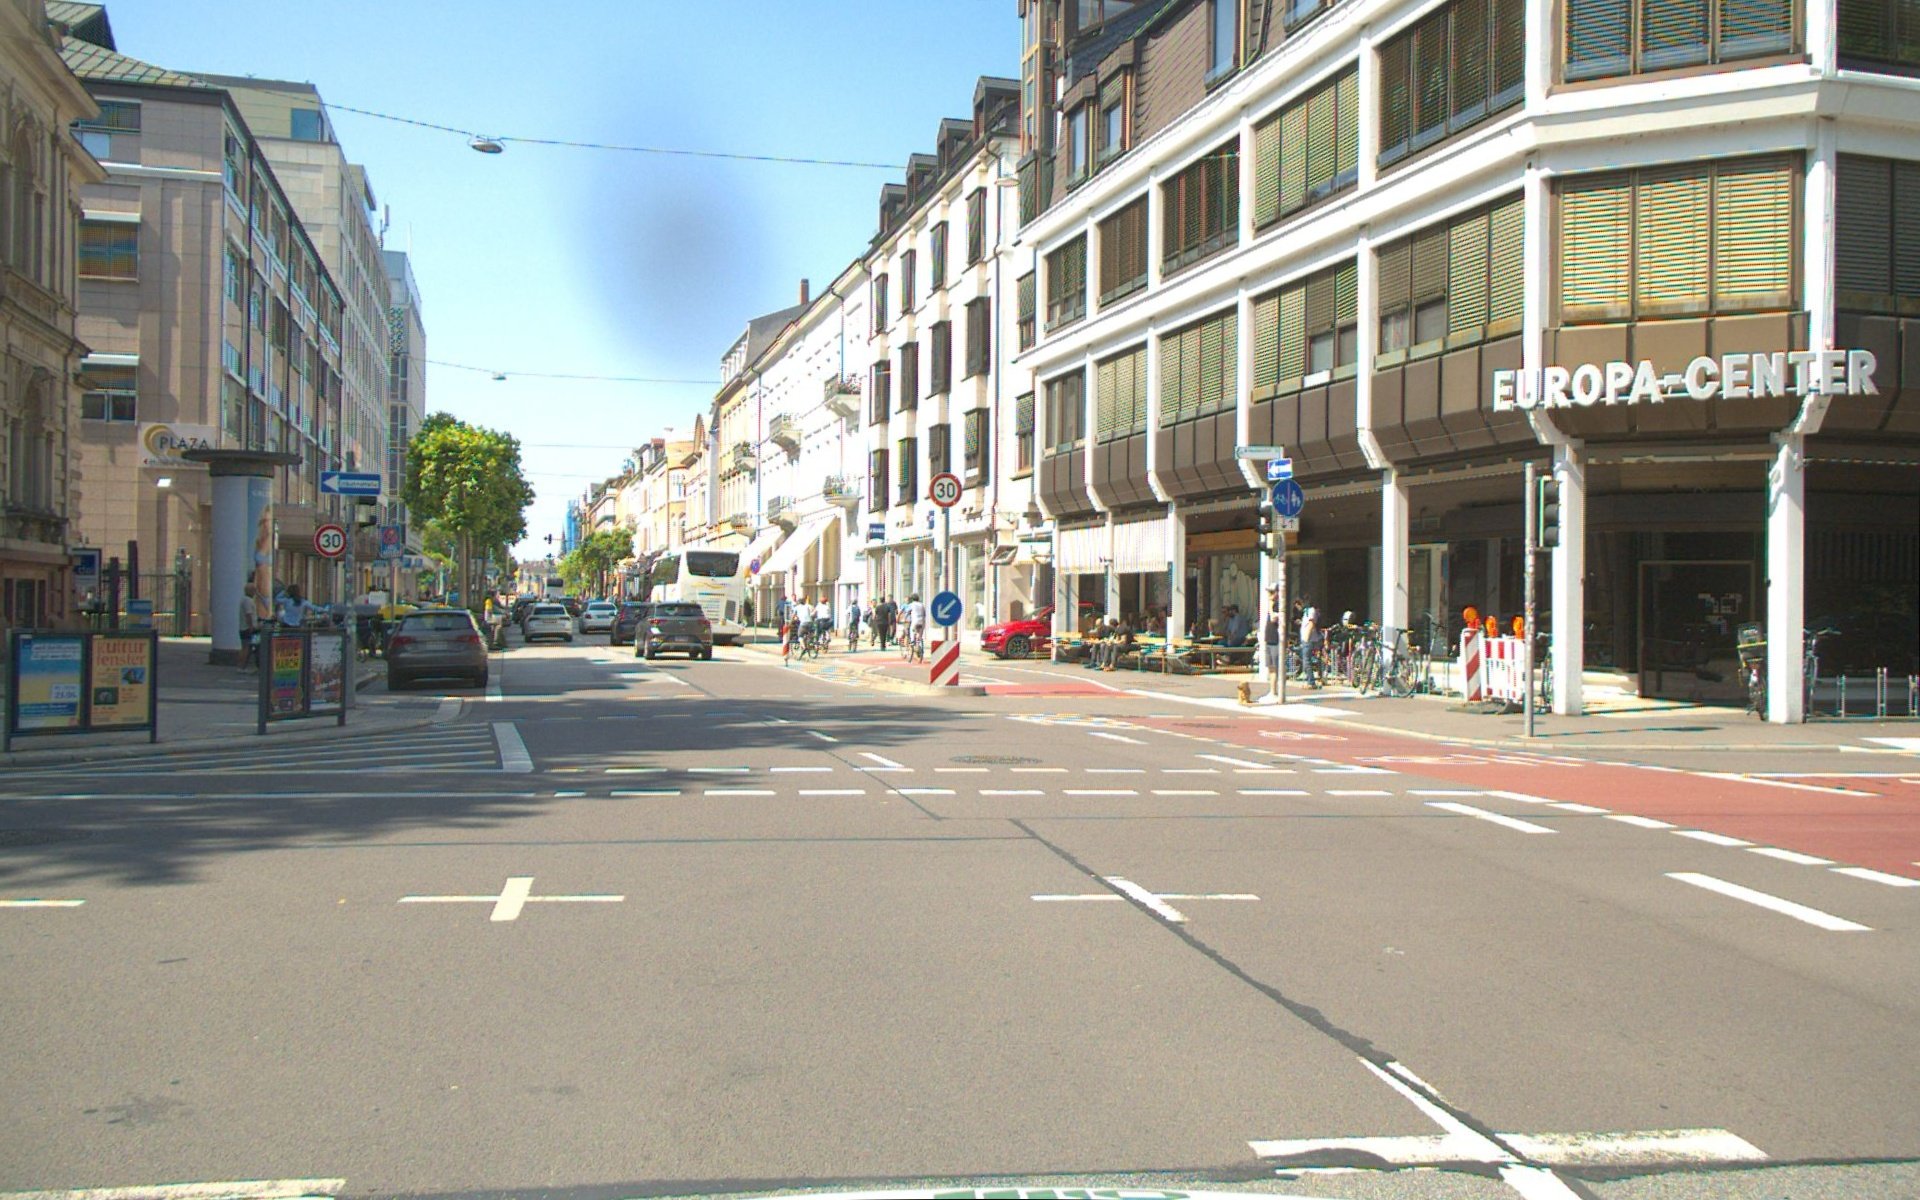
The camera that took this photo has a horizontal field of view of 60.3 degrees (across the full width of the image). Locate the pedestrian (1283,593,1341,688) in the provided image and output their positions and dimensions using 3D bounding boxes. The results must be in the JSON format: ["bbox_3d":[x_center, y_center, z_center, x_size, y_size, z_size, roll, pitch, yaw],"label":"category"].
[{"bbox_3d":[6.378,0.738,29.991,0.817,1.692,0.695,0,-2,-7],"label":"pedestrian"}]

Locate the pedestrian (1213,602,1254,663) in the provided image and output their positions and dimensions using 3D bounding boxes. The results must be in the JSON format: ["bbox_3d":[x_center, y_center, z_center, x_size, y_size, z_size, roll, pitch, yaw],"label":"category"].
[{"bbox_3d":[6.395,0.762,38.662,0.700,1.421,0.693,0,-2,-17],"label":"pedestrian"}]

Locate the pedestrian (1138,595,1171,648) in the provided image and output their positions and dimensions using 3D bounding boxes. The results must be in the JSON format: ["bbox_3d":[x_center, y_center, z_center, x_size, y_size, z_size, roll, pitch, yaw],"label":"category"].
[{"bbox_3d":[5.202,0.573,44.255,0.732,1.391,0.582,0,-1,-17],"label":"pedestrian"}]

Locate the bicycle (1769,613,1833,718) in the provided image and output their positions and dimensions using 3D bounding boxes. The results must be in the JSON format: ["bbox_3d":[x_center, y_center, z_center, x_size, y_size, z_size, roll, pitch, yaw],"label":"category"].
[{"bbox_3d":[11.536,0.871,22.668,0.520,1.340,1.852,0,1,35],"label":"bicycle"}]

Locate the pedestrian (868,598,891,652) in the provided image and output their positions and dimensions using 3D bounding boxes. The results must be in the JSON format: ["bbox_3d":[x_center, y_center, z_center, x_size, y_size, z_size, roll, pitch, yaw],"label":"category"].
[{"bbox_3d":[-2.625,0.808,53.874,0.609,1.750,0.832,0,-1,-13],"label":"pedestrian"}]

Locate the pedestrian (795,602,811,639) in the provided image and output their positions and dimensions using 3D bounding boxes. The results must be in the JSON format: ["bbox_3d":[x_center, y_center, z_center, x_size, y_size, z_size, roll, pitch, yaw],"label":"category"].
[{"bbox_3d":[-6.983,0.901,73.508,0.634,1.646,0.819,0,-2,-13],"label":"pedestrian"}]

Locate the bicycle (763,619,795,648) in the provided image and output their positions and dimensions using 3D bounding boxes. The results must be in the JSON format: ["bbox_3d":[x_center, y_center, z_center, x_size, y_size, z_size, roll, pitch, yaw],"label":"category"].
[{"bbox_3d":[-7.157,1.309,65.362,0.824,1.118,2.341,1,-1,-17],"label":"bicycle"}]

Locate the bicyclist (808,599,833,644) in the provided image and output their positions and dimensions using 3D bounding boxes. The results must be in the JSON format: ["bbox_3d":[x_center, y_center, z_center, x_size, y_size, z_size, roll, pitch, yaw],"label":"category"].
[{"bbox_3d":[-4.430,0.676,52.555,0.610,1.394,0.777,1,-1,-17],"label":"bicyclist"}]

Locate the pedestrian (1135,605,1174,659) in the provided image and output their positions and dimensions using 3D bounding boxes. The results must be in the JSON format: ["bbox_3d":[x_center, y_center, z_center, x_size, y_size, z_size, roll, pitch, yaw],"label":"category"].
[{"bbox_3d":[5.078,0.842,43.168,0.863,1.391,0.534,0,-1,-17],"label":"pedestrian"}]

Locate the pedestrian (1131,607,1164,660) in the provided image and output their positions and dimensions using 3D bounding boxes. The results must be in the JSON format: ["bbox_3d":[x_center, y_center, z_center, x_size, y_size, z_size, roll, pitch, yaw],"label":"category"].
[{"bbox_3d":[4.938,0.879,43.608,0.749,1.391,0.476,0,-1,-17],"label":"pedestrian"}]

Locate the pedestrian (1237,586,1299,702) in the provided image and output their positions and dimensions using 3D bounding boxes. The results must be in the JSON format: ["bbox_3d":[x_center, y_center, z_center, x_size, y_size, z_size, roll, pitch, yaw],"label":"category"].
[{"bbox_3d":[5.025,0.715,27.005,0.817,1.868,0.695,0,-2,-7],"label":"pedestrian"}]

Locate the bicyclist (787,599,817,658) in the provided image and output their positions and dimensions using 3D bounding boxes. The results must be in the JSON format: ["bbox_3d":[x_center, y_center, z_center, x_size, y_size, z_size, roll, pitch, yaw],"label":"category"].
[{"bbox_3d":[-4.671,0.831,48.776,0.683,1.702,0.912,3,0,-14],"label":"bicyclist"}]

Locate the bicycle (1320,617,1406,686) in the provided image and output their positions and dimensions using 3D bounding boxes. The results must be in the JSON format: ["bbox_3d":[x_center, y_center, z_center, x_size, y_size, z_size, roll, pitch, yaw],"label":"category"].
[{"bbox_3d":[7.234,0.930,29.698,1.517,1.228,0.277,1,0,-9],"label":"bicycle"}]

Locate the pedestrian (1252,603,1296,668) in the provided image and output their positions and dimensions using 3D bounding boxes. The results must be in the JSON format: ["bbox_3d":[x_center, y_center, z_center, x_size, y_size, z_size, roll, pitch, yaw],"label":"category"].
[{"bbox_3d":[6.957,0.780,36.640,0.700,1.421,0.693,0,-2,-17],"label":"pedestrian"}]

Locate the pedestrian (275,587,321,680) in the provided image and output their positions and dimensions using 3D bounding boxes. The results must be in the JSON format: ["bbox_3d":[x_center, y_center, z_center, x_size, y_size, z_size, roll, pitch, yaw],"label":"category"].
[{"bbox_3d":[-12.442,0.637,31.092,0.682,1.725,0.688,0,-2,-13],"label":"pedestrian"}]

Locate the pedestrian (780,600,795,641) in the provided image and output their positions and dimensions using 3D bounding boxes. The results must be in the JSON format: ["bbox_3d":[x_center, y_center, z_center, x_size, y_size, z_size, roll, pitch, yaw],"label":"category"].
[{"bbox_3d":[-7.576,0.912,72.585,0.563,1.810,1.016,0,-2,-13],"label":"pedestrian"}]

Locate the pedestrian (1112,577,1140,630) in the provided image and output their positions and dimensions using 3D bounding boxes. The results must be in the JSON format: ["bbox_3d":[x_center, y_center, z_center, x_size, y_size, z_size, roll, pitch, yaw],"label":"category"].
[{"bbox_3d":[4.412,0.088,44.024,0.526,1.391,0.686,0,-1,-15],"label":"pedestrian"}]

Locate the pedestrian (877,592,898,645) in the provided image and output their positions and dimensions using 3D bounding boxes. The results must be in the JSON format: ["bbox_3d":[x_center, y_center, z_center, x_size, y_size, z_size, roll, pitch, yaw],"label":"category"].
[{"bbox_3d":[-2.605,0.671,59.268,0.681,1.883,0.834,0,-2,-7],"label":"pedestrian"}]

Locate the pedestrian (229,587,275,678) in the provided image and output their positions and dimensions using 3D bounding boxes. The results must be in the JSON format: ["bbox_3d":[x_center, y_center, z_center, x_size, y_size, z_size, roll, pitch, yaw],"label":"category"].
[{"bbox_3d":[-13.433,0.623,31.396,0.538,1.694,0.935,0,-2,-7],"label":"pedestrian"}]

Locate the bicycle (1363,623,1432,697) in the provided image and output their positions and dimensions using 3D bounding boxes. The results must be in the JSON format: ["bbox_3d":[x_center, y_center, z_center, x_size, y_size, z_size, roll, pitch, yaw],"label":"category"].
[{"bbox_3d":[7.280,0.974,27.616,0.271,1.140,2.239,0,0,-8],"label":"bicycle"}]

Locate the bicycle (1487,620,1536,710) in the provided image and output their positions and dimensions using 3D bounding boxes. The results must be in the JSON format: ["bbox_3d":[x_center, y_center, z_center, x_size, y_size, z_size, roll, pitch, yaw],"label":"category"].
[{"bbox_3d":[8.451,0.977,25.326,0.369,1.082,1.471,-1,9,30],"label":"bicycle"}]

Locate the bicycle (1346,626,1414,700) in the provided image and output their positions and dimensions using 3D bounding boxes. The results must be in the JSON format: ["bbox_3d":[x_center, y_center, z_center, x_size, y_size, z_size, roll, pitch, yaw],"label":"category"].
[{"bbox_3d":[6.954,1.015,27.477,0.271,1.140,2.239,0,0,-8],"label":"bicycle"}]

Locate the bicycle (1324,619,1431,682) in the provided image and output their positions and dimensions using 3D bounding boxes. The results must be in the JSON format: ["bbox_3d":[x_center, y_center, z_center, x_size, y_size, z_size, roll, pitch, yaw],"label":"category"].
[{"bbox_3d":[7.724,0.922,30.530,2.206,1.140,0.275,1,0,-24],"label":"bicycle"}]

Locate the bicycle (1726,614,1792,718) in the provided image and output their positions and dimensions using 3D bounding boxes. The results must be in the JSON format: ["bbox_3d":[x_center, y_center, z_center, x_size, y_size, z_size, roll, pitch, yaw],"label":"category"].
[{"bbox_3d":[11.086,0.882,22.924,0.520,1.340,1.960,0,1,35],"label":"bicycle"}]

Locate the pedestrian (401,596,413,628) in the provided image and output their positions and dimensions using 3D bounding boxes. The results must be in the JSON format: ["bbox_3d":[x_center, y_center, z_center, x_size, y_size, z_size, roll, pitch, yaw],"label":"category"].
[{"bbox_3d":[-29.511,0.623,88.283,0.558,1.686,0.632,1,-1,-23],"label":"pedestrian"}]

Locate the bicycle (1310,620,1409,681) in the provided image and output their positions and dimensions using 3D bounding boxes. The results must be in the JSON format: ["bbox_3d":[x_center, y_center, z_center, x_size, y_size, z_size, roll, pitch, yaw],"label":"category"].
[{"bbox_3d":[7.529,0.946,31.115,2.211,1.116,0.275,1,0,-30],"label":"bicycle"}]

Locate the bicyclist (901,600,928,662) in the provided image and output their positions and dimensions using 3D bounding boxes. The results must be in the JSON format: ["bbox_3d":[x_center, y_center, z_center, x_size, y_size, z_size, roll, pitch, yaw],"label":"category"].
[{"bbox_3d":[-1.214,0.822,44.430,0.681,1.654,0.834,0,-1,-5],"label":"bicyclist"}]

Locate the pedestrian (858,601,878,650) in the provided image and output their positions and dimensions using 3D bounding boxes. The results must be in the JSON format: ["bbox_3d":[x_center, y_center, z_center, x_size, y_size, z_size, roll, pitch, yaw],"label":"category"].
[{"bbox_3d":[-3.296,0.904,59.192,0.681,1.715,0.834,0,0,-7],"label":"pedestrian"}]

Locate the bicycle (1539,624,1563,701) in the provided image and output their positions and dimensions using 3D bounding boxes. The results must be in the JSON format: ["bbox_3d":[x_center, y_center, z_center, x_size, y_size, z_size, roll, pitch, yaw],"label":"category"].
[{"bbox_3d":[8.808,0.917,24.659,0.302,1.084,1.472,-1,0,19],"label":"bicycle"}]

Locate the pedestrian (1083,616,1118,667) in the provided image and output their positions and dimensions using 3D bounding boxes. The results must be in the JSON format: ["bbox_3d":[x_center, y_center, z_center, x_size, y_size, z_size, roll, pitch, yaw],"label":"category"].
[{"bbox_3d":[3.316,0.993,39.157,0.698,1.193,0.695,0,-2,-7],"label":"pedestrian"}]

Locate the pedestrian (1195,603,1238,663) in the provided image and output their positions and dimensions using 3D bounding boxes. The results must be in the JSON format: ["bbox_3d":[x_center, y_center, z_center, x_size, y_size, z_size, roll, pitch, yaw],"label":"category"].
[{"bbox_3d":[6.110,0.795,39.452,0.800,1.421,0.693,0,-2,-18],"label":"pedestrian"}]

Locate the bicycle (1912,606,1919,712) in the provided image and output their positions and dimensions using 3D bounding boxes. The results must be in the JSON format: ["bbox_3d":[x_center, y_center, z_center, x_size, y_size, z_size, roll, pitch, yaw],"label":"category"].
[{"bbox_3d":[14.008,0.816,23.627,0.520,1.447,1.960,0,1,35],"label":"bicycle"}]

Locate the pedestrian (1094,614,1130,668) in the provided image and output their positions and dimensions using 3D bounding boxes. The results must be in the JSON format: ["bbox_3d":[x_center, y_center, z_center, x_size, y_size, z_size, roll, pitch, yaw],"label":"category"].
[{"bbox_3d":[3.513,0.947,38.327,0.698,1.238,0.695,0,-2,-7],"label":"pedestrian"}]

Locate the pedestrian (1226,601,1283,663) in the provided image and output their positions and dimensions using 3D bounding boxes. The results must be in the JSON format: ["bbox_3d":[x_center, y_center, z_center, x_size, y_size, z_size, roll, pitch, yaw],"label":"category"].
[{"bbox_3d":[6.686,0.728,37.559,0.881,1.374,1.100,0,-2,-17],"label":"pedestrian"}]

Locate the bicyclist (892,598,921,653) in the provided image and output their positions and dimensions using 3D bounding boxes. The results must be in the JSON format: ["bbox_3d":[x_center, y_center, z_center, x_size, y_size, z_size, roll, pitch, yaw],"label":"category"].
[{"bbox_3d":[-1.545,0.739,47.513,0.610,1.556,0.865,1,-1,-17],"label":"bicyclist"}]

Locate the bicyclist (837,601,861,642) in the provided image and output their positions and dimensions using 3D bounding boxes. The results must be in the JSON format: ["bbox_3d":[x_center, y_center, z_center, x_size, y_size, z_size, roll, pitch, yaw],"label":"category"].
[{"bbox_3d":[-3.608,0.706,53.750,0.610,1.319,0.863,1,-1,-17],"label":"bicyclist"}]

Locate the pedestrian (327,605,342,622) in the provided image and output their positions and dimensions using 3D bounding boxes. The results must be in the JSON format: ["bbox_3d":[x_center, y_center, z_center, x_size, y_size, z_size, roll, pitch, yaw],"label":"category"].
[{"bbox_3d":[-31.209,0.678,82.479,0.556,0.823,0.771,5,-1,-15],"label":"pedestrian"}]

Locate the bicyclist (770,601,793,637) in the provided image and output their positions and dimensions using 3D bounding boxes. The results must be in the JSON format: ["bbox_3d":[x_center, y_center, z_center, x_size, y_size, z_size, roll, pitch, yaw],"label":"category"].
[{"bbox_3d":[-6.992,0.740,64.877,0.775,1.403,0.719,1,-1,-17],"label":"bicyclist"}]
